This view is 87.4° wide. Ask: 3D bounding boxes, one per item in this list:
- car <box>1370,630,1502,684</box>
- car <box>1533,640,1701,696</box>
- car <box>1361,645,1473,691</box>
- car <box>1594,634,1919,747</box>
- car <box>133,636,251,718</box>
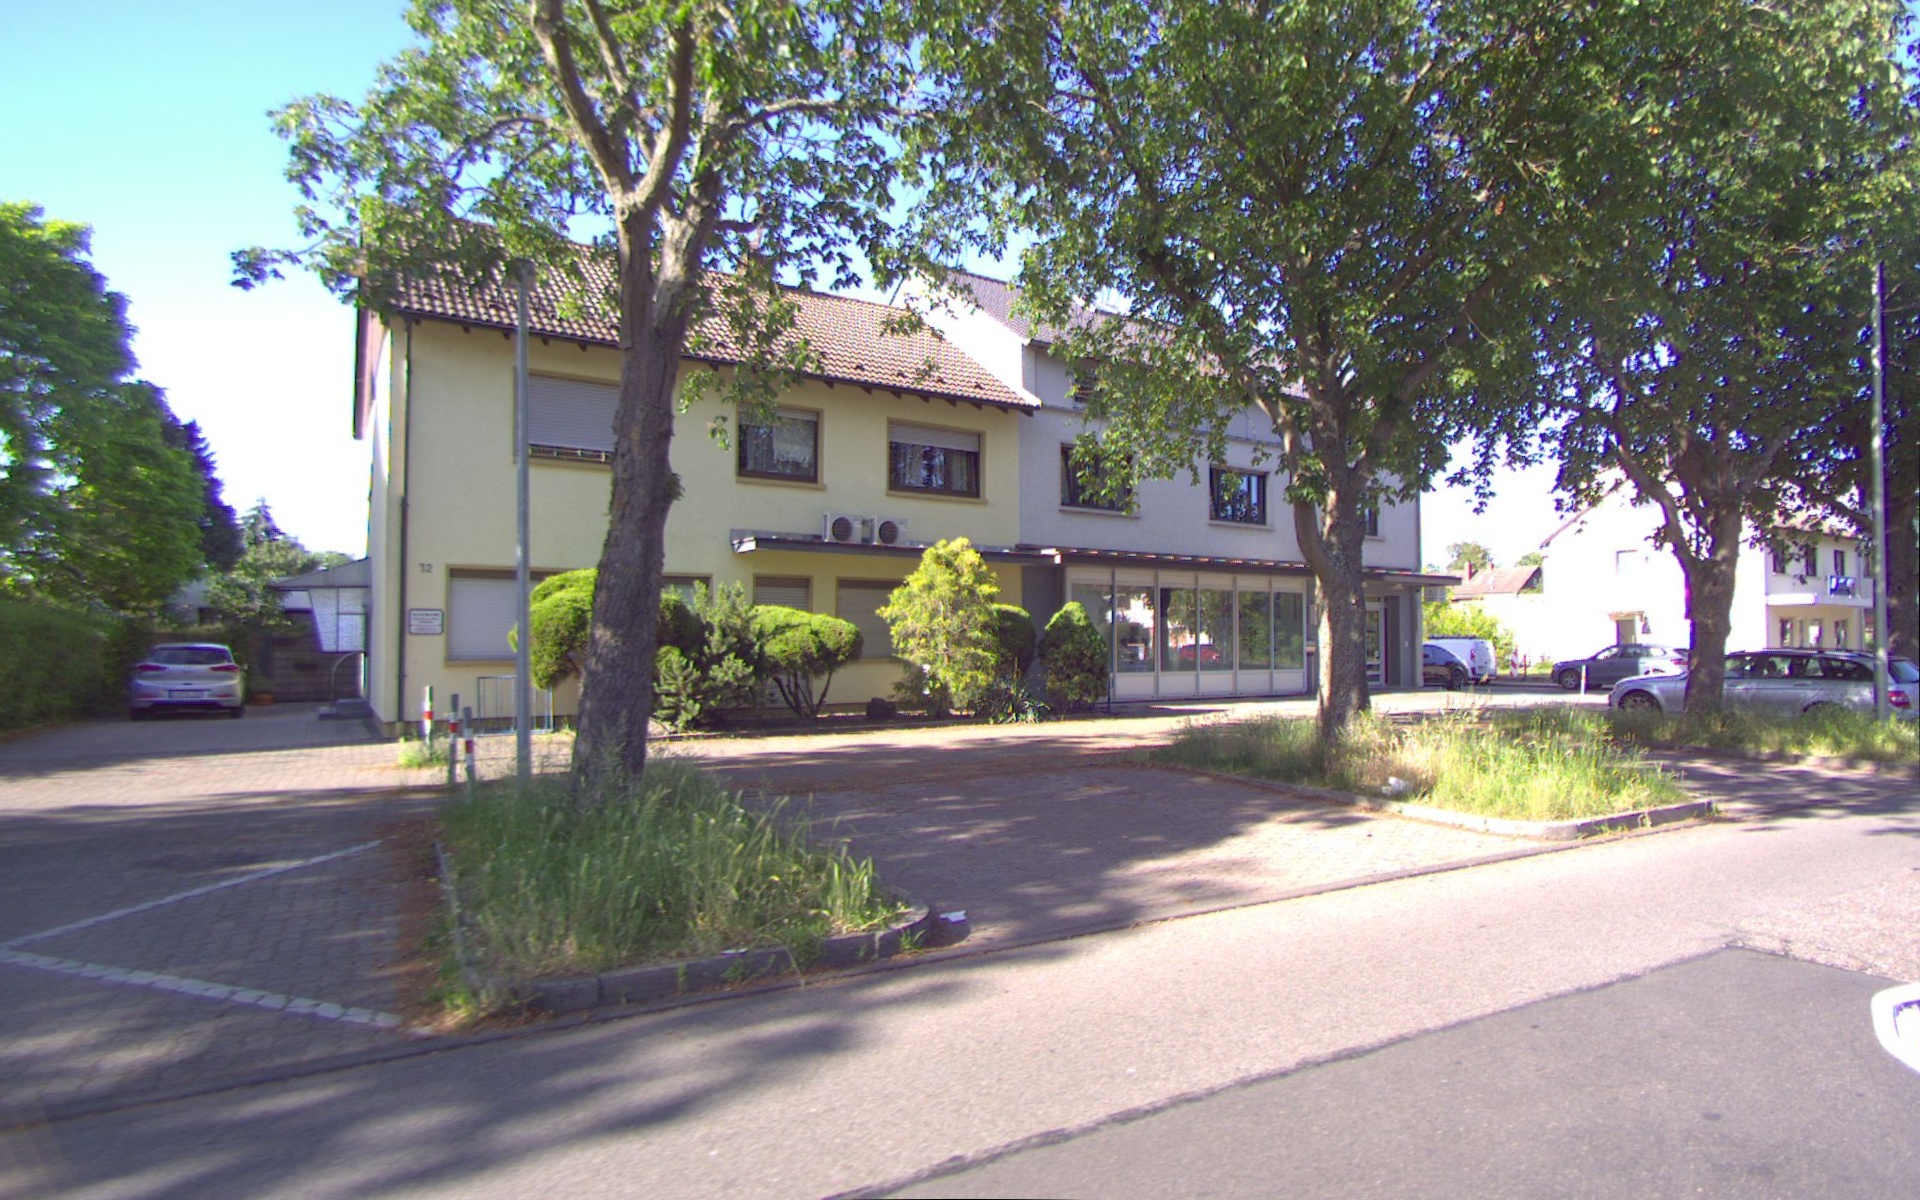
[{"bbox_3d":[19.296,2.264,40.920,1.978,1.953,4.528,0,0,-33],"label":"car"},{"bbox_3d":[22.714,2.289,34.900,1.978,1.639,4.528,0,0,-33],"label":"car"},{"bbox_3d":[14.429,2.108,31.681,3.470,1.253,1.533,0,0,-31],"label":"car"},{"bbox_3d":[13.728,1.423,17.239,1.819,1.531,4.534,0,0,-29],"label":"car"},{"bbox_3d":[-15.617,1.498,20.496,1.745,1.483,3.958,1,-3,-37],"label":"car"}]
